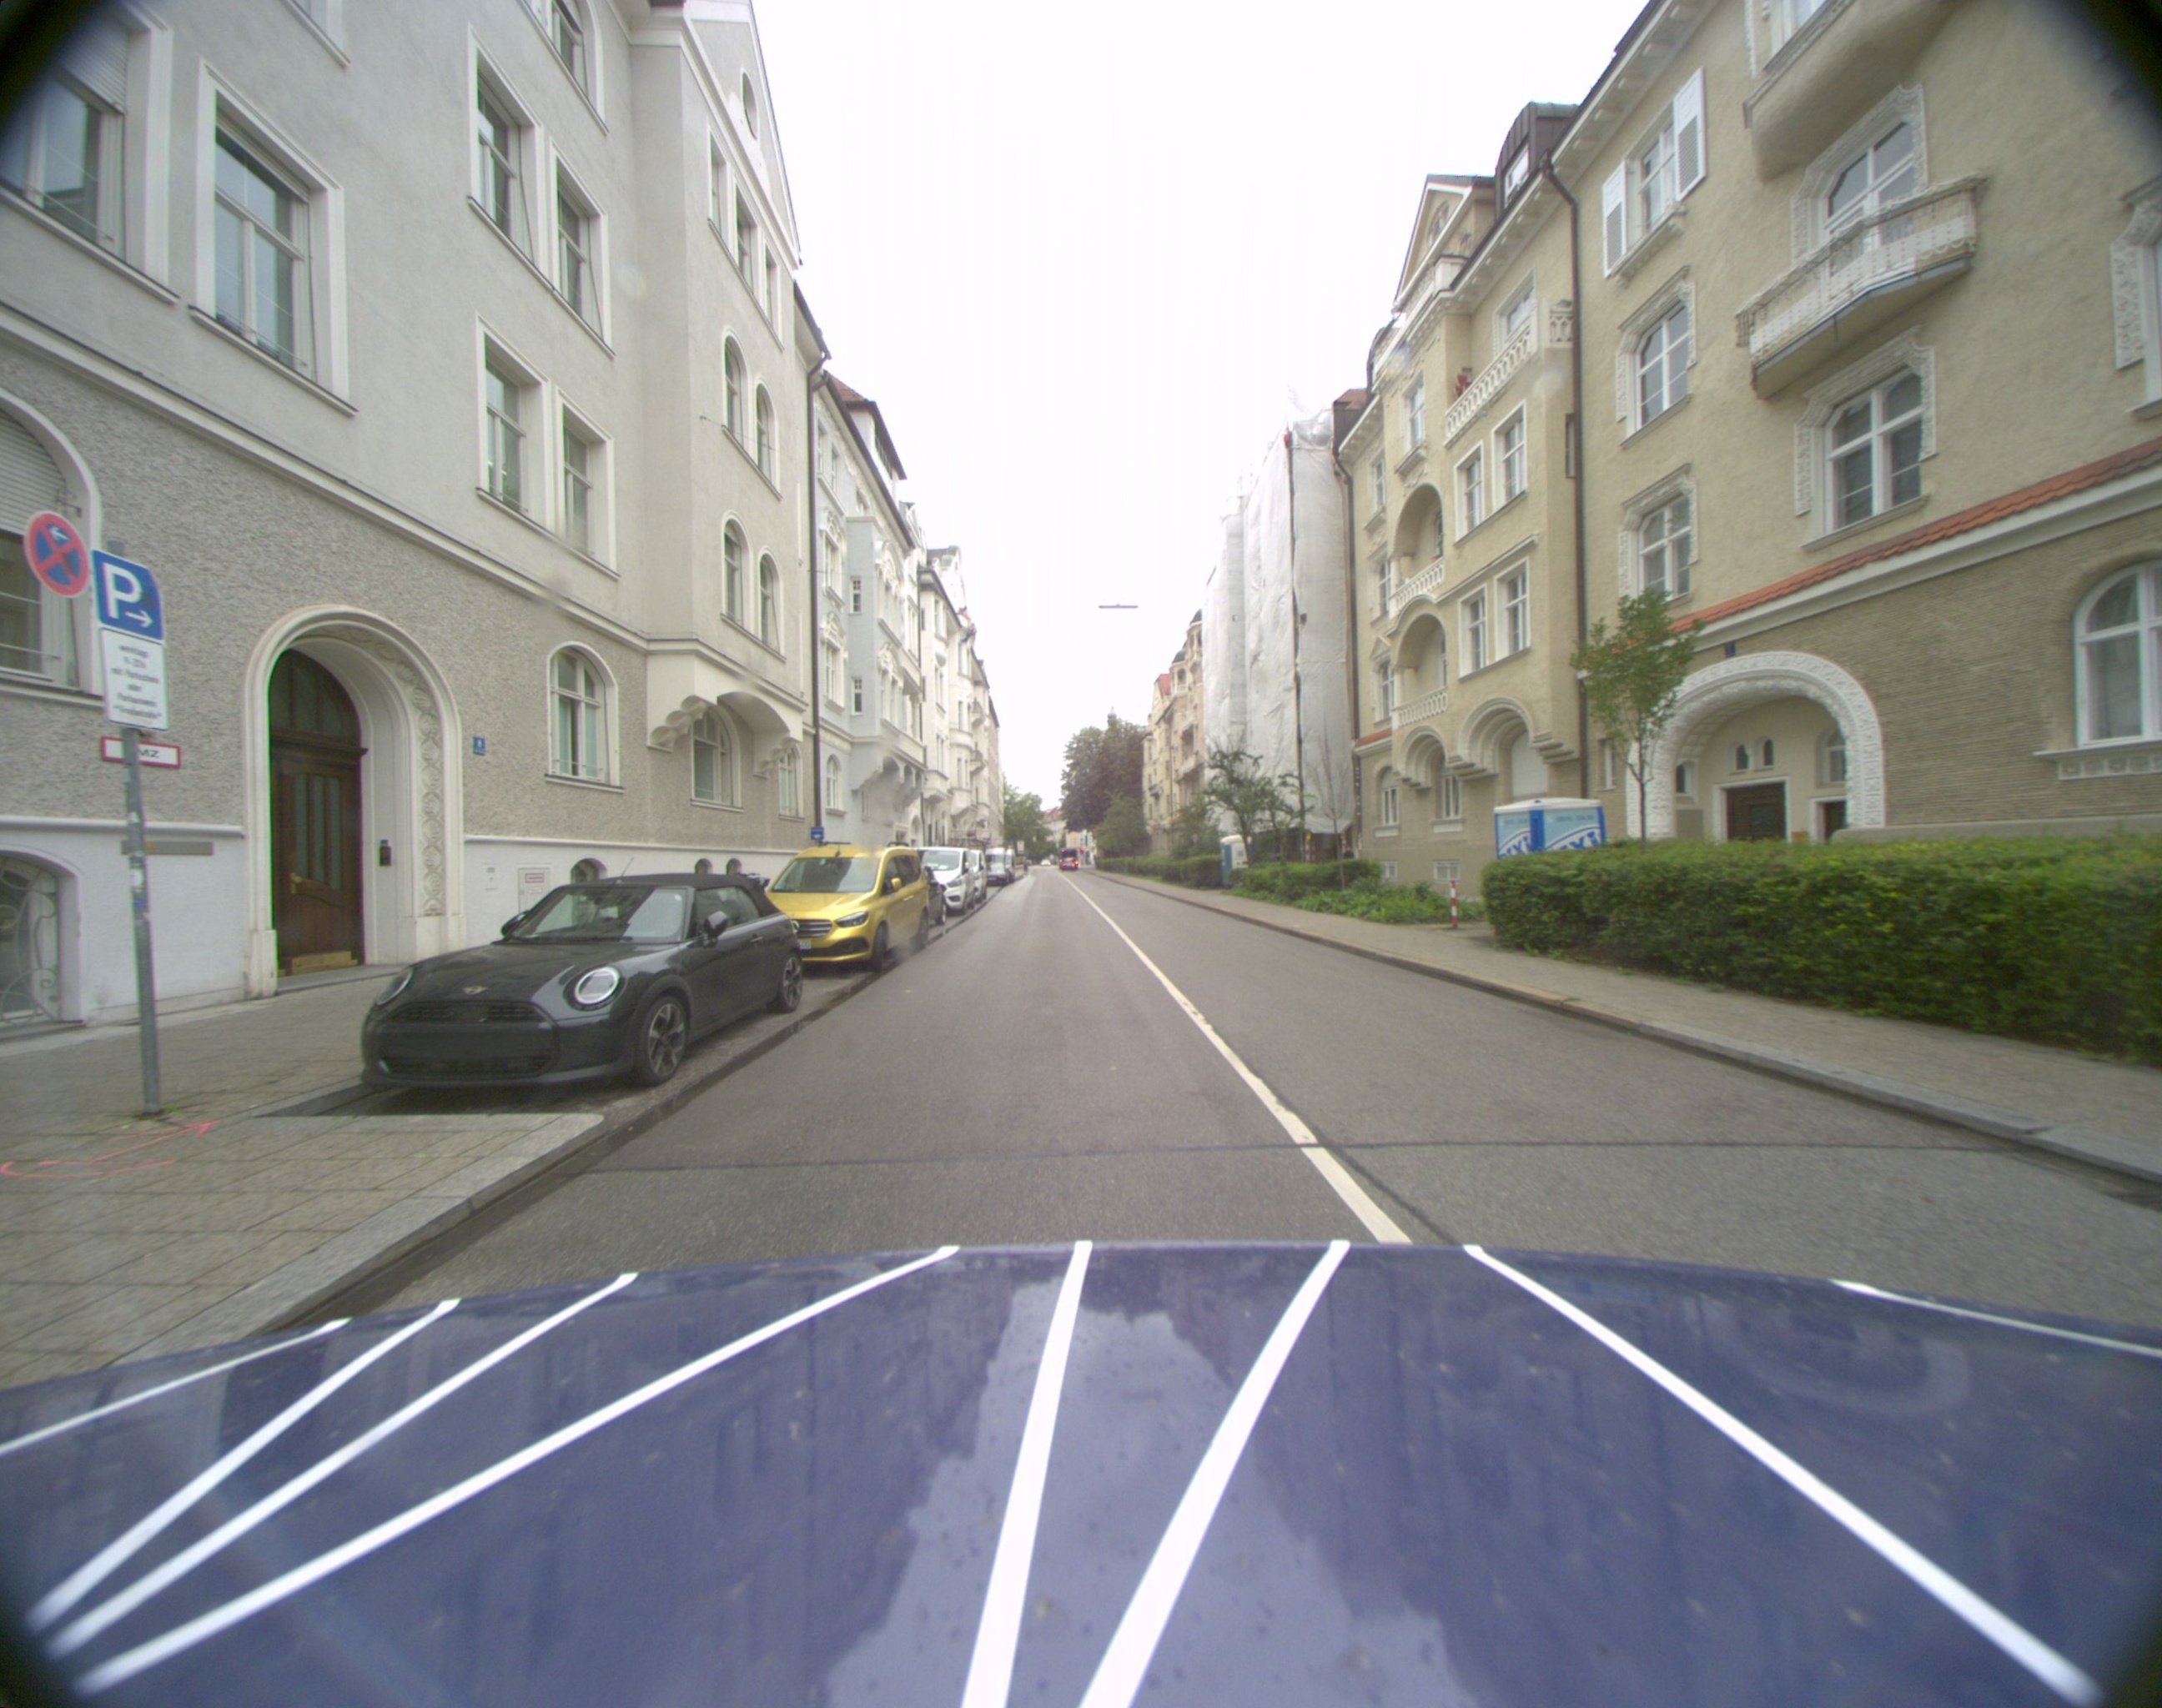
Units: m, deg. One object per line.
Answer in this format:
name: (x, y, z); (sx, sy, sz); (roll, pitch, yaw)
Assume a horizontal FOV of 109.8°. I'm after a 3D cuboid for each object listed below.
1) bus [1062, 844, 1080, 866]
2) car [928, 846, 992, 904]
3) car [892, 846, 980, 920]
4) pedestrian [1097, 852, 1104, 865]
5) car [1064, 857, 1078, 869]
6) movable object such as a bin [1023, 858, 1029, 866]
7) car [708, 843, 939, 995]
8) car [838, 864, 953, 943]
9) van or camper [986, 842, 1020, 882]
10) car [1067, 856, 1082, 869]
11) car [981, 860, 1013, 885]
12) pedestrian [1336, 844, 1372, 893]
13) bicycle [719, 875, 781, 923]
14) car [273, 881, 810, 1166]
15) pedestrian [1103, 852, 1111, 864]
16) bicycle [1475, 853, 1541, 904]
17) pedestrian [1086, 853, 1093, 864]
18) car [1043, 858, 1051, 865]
bus: (-1.543, 0.137, 113.216); (2.586, 3.082, 8.921); (-1, 0, -2)
car: (-4.538, 0.756, 29.192); (1.965, 2.002, 4.991); (-1, 0, -4)
car: (-4.190, 0.778, 22.785); (1.965, 1.926, 4.991); (-1, 0, -4)
pedestrian: (2.783, 0.651, 108.710); (0.875, 1.735, 0.910); (-1, 1, -3)
car: (-1.290, 1.114, 96.819); (1.588, 1.470, 3.781); (-1, 0, -3)
movable object such as a bin: (-8.283, 1.187, 115.112); (0.877, 1.243, 0.798); (-1, 0, -8)
car: (-3.629, 0.813, 11.784); (1.855, 1.842, 4.821); (-1, 0, 1)
car: (-3.975, 0.998, 16.871); (1.636, 1.475, 3.783); (-1, 0, -1)
van or camper: (-5.442, 0.544, 53.781); (1.959, 2.621, 5.457); (-1, 0, -2)
car: (-0.886, 1.164, 102.996); (1.773, 1.635, 4.272); (-1, 0, -3)
car: (-5.234, 1.113, 47.831); (1.758, 1.426, 4.086); (-1, 0, -3)
pedestrian: (9.969, 0.512, 27.760); (0.916, 1.741, 0.947); (-1, 0, -3)
bicycle: (-8.308, 1.098, 19.168); (0.696, 1.087, 2.036); (1, 0, -1)
car: (-3.743, 1.028, 6.256); (1.668, 1.449, 3.896); (-1, 0, -1)
pedestrian: (3.760, 0.584, 108.890); (0.784, 1.735, 0.877); (-1, 1, 29)
bicycle: (11.272, 0.626, 20.129); (0.747, 1.268, 1.703); (-1, 0, -1)
pedestrian: (1.537, 0.768, 139.349); (0.952, 2.002, 1.397); (-1, 1, 7)
car: (-7.822, 1.748, 174.349); (1.927, 1.608, 3.999); (-2, 0, -3)
